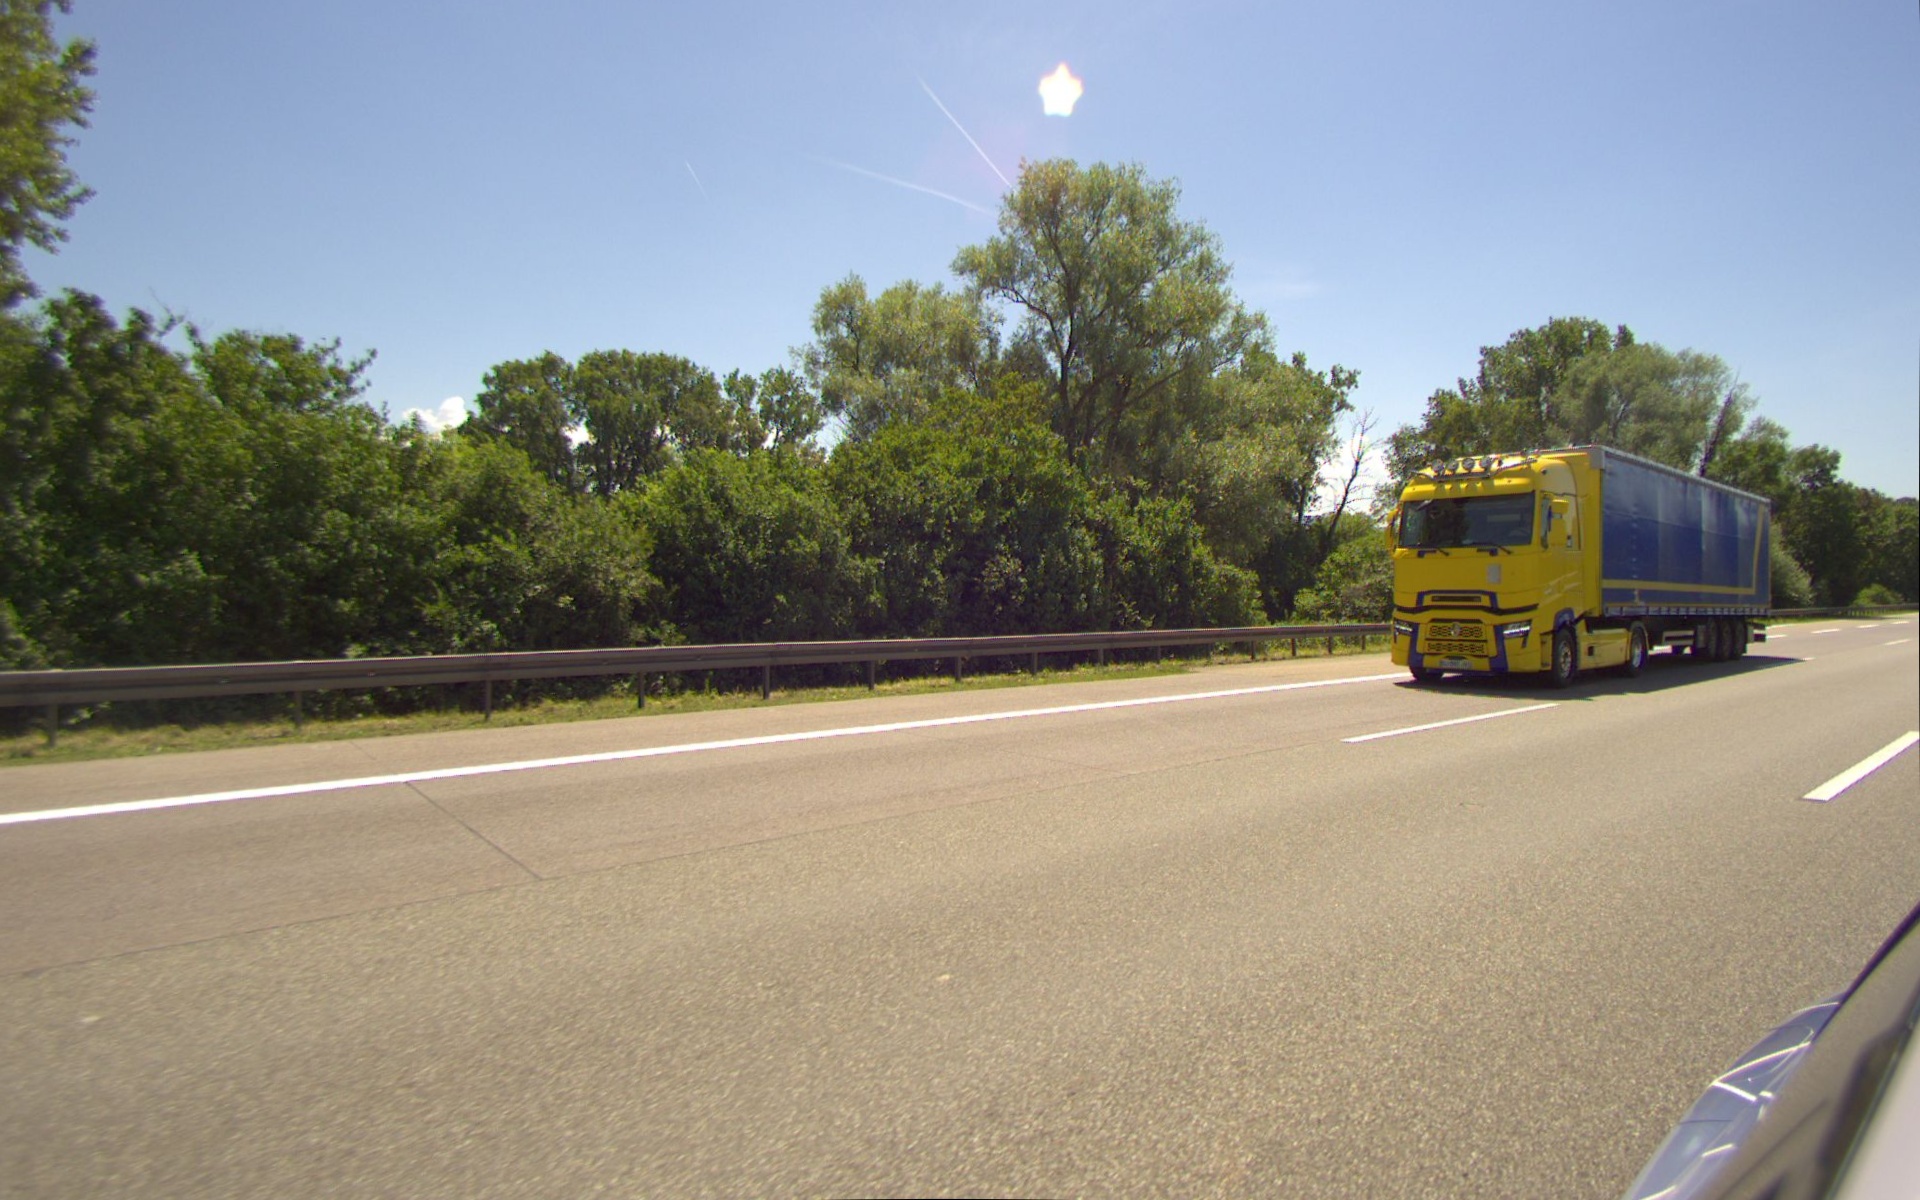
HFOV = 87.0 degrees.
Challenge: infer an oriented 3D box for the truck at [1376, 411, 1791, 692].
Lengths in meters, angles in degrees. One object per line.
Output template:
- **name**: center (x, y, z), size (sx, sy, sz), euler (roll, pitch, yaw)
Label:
- **truck**: center (14.446, -0.922, 22.021), size (16.499, 4.310, 2.850), euler (-1, 2, -41)
